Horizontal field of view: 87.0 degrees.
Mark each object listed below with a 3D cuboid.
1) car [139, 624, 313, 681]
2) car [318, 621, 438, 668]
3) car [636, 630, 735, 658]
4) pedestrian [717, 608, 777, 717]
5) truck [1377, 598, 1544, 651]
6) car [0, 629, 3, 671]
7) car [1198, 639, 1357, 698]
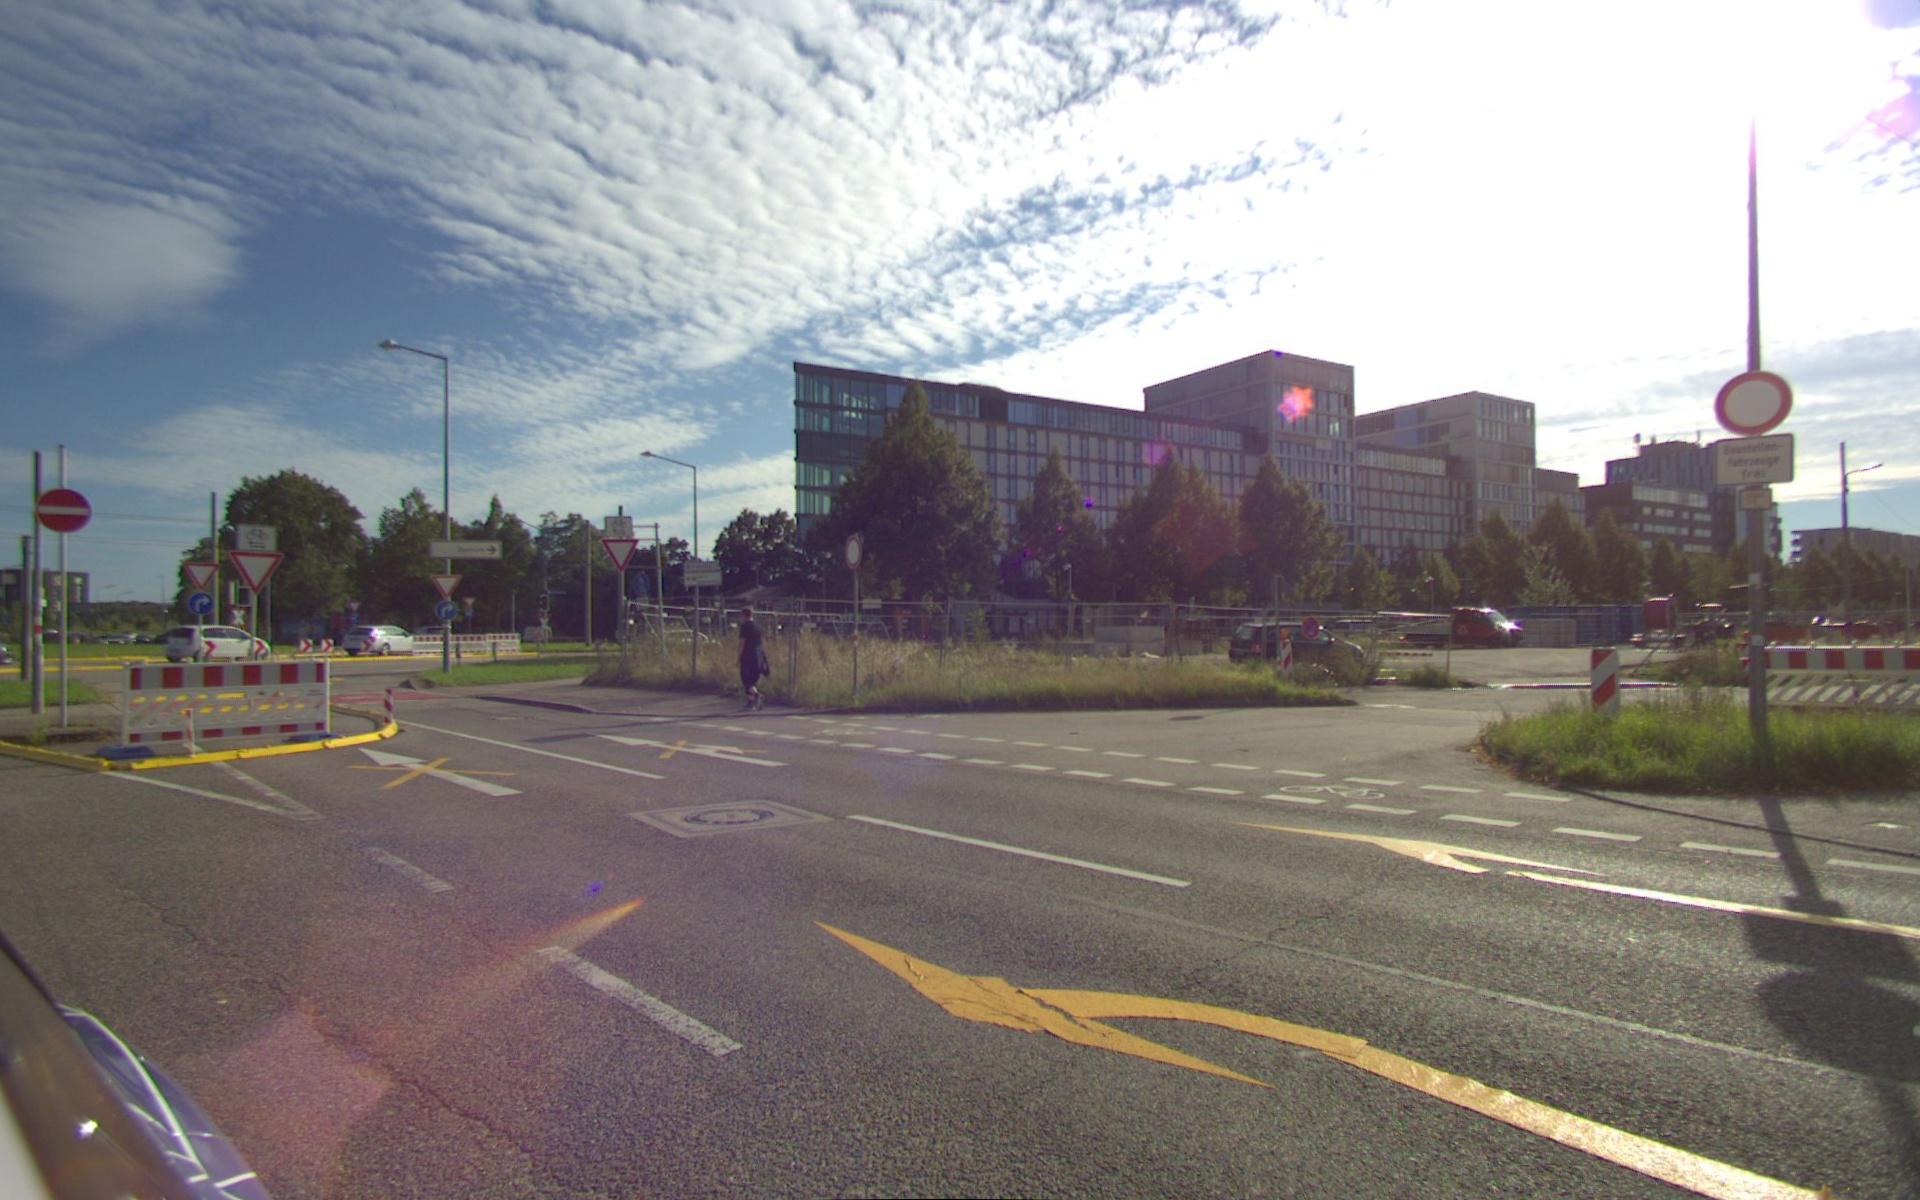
[{"bbox_3d":[-29.943,2.099,41.553,2.455,2.074,5.476,-1,-1,15],"label":"car"},{"bbox_3d":[-28.690,2.160,50.185,2.445,2.074,5.800,-1,0,3],"label":"car"},{"bbox_3d":[-14.425,2.313,53.376,2.000,1.362,4.744,-2,-2,42],"label":"car"},{"bbox_3d":[-3.667,1.062,17.473,0.739,1.838,0.705,-1,-1,19],"label":"pedestrian"},{"bbox_3d":[28.960,1.375,59.003,3.306,2.875,8.135,-1,-1,-33],"label":"truck"},{"bbox_3d":[-33.576,1.623,31.854,1.996,1.362,4.752,-2,-2,37],"label":"car"},{"bbox_3d":[9.863,2.129,31.726,4.355,1.670,1.998,-1,-1,3],"label":"car"}]
